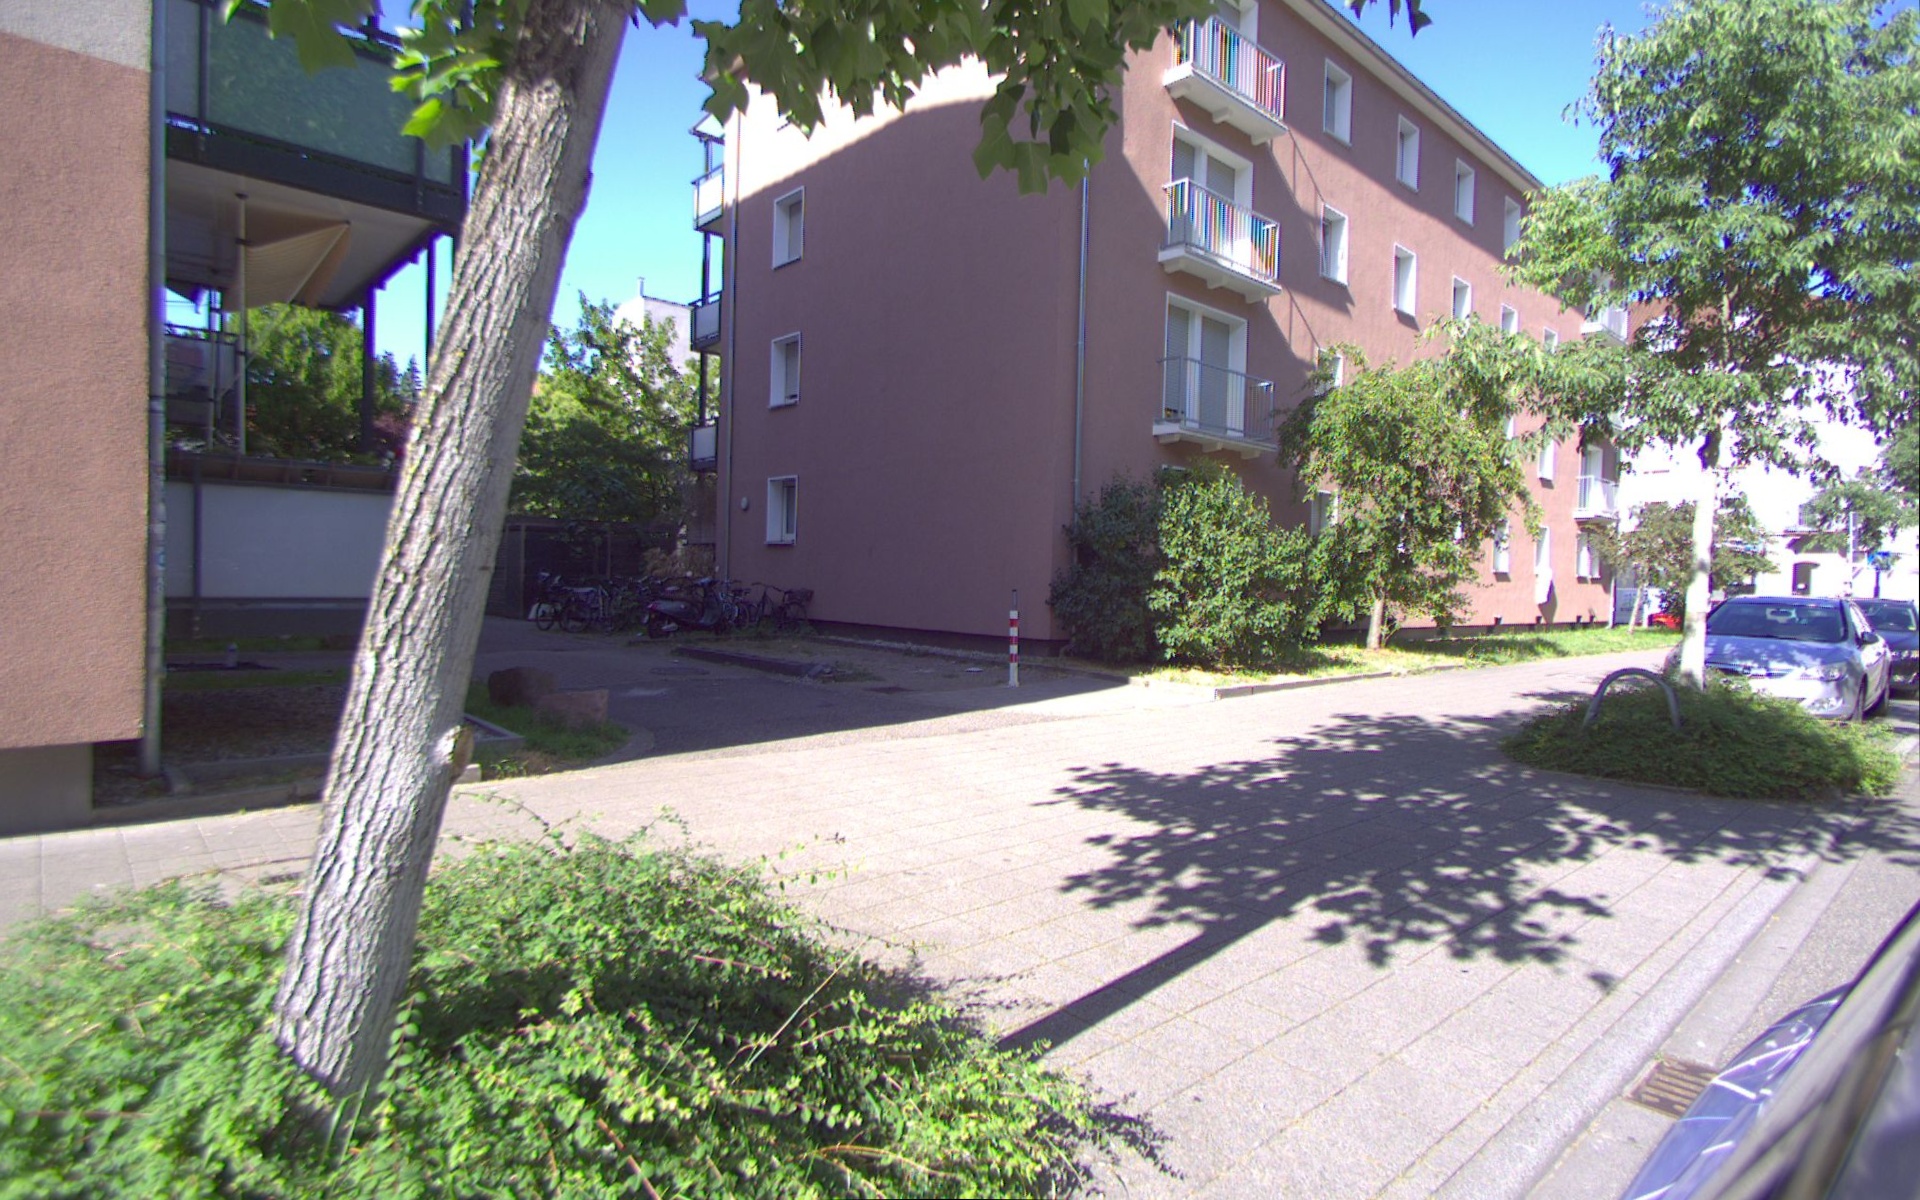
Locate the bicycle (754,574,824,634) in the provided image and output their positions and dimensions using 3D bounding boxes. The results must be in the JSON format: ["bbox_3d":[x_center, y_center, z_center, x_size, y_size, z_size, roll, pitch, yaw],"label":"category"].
[{"bbox_3d":[-3.324,0.058,19.593,0.584,1.112,1.537,0,1,-43],"label":"bicycle"}]

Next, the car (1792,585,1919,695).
[{"bbox_3d":[14.684,0.562,16.048,4.237,1.500,1.660,0,2,-42],"label":"car"}]

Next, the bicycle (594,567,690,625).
[{"bbox_3d":[-6.674,-0.080,21.287,1.848,1.166,0.578,0,1,-41],"label":"bicycle"}]

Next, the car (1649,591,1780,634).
[{"bbox_3d":[27.864,0.436,37.447,1.541,1.419,3.645,0,2,-42],"label":"car"}]

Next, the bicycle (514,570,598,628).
[{"bbox_3d":[-8.081,-0.021,20.251,1.454,1.112,0.556,0,1,-41],"label":"bicycle"}]

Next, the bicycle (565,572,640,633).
[{"bbox_3d":[-6.915,0.037,19.547,1.712,1.112,0.549,2,1,40],"label":"bicycle"}]

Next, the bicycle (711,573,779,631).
[{"bbox_3d":[-4.435,0.024,20.819,0.548,1.112,1.717,0,2,-43],"label":"bicycle"}]

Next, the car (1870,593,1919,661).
[{"bbox_3d":[22.245,0.605,23.110,3.931,1.446,1.734,0,2,-42],"label":"car"}]

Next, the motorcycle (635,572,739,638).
[{"bbox_3d":[-4.899,0.082,18.213,1.741,1.120,0.526,0,2,-41],"label":"motorcycle"}]

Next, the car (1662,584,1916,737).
[{"bbox_3d":[9.954,0.570,12.050,3.931,1.471,1.719,-1,3,-42],"label":"car"}]

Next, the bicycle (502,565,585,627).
[{"bbox_3d":[-8.500,-0.081,20.671,1.454,1.221,0.556,0,1,-41],"label":"bicycle"}]

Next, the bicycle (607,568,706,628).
[{"bbox_3d":[-6.163,-0.054,20.613,1.848,1.166,0.578,0,1,-41],"label":"bicycle"}]

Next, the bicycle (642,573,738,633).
[{"bbox_3d":[-5.305,0.053,19.912,1.741,1.120,0.567,0,2,-41],"label":"bicycle"}]

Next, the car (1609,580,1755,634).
[{"bbox_3d":[30.333,0.241,42.599,4.744,2.039,1.968,3,2,44],"label":"car"}]
